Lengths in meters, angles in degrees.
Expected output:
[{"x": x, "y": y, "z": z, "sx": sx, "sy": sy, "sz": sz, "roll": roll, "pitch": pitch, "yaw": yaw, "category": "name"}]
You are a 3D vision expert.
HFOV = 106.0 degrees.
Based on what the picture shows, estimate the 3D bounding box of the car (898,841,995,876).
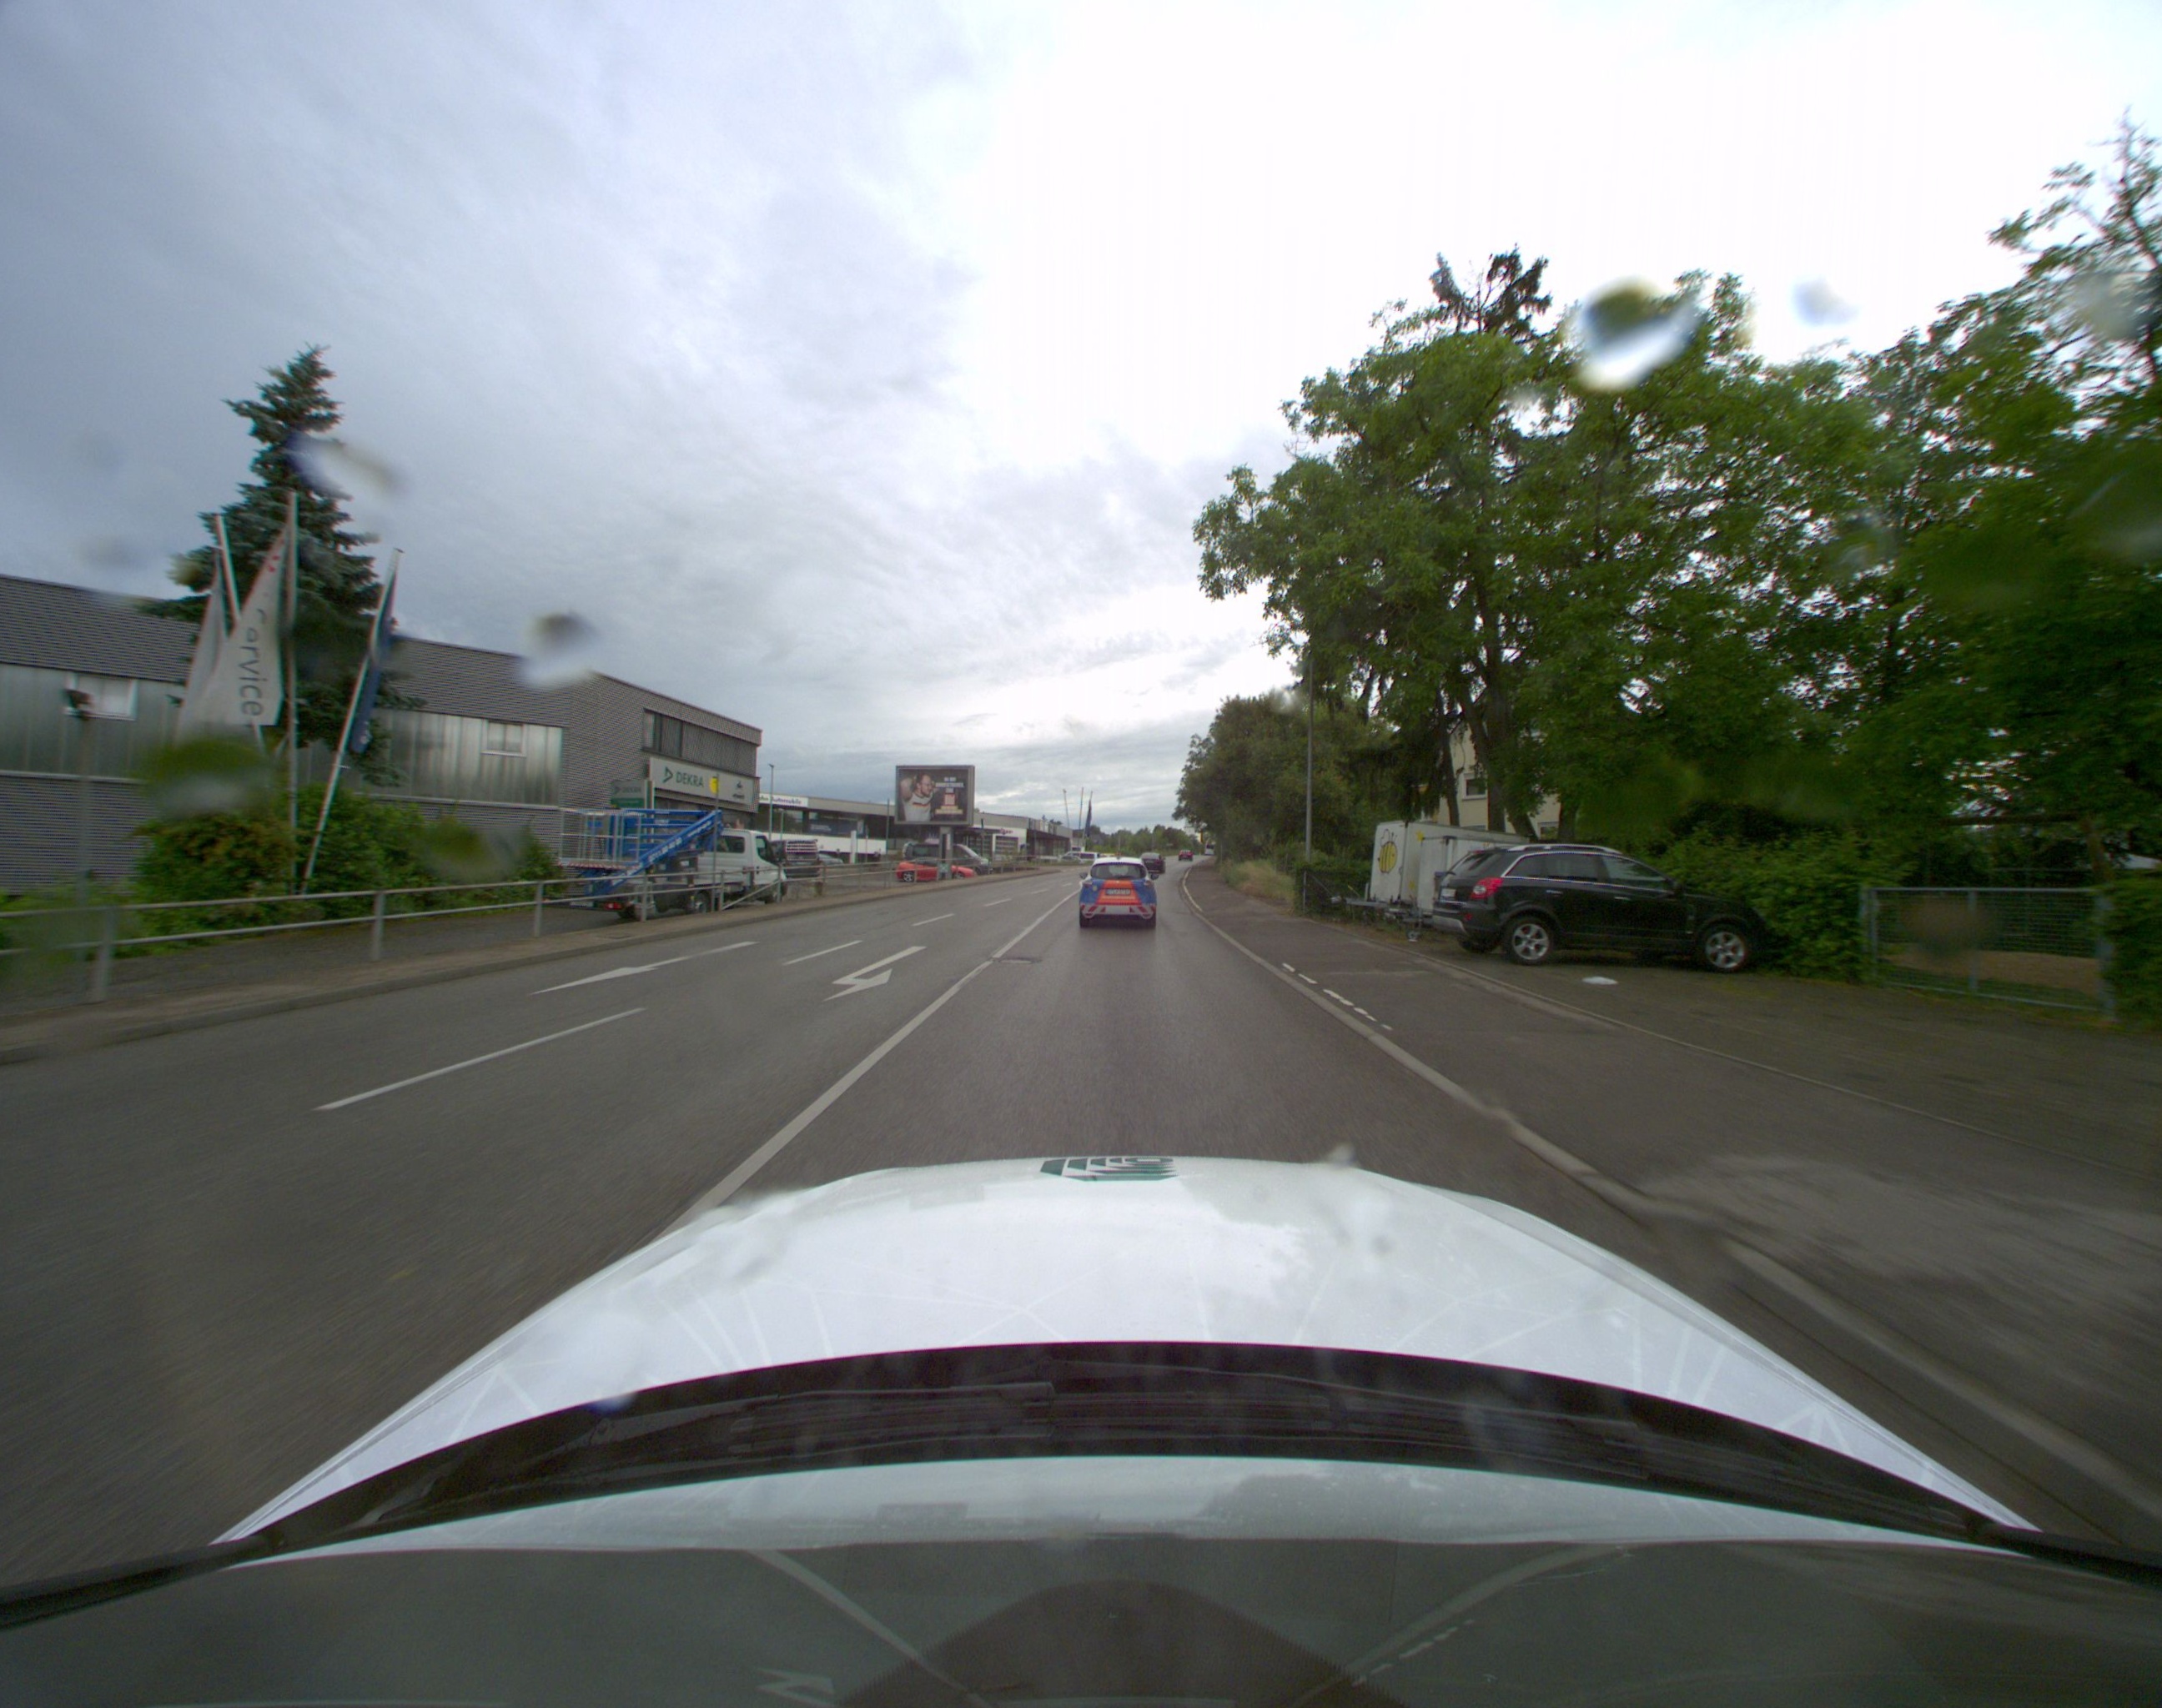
[{"x": -7.499, "y": 0.255, "z": 45.716, "sx": 5.049, "sy": 1.870, "sz": 1.823, "roll": 1, "pitch": 0, "yaw": 1, "category": "car"}]

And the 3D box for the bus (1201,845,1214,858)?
[{"x": 34.058, "y": -0.627, "z": 219.310, "sx": 2.896, "sy": 3.169, "sz": 11.482, "roll": 0, "pitch": 0, "yaw": 5, "category": "bus"}]

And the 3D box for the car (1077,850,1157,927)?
[{"x": 0.934, "y": 0.759, "z": 19.186, "sx": 1.649, "sy": 1.593, "sz": 3.574, "roll": 2, "pitch": -1, "yaw": 6, "category": "car"}]

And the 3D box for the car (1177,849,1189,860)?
[{"x": 13.865, "y": 0.093, "z": 110.625, "sx": 1.605, "sy": 1.407, "sz": 3.505, "roll": 0, "pitch": 0, "yaw": 8, "category": "car"}]

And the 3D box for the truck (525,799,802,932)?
[{"x": -9.655, "y": 0.146, "z": 20.106, "sx": 1.983, "sy": 2.632, "sz": 7.908, "roll": 0, "pitch": 1, "yaw": 7, "category": "truck"}]

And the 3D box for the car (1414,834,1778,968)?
[{"x": 7.511, "y": 0.625, "z": 12.261, "sx": 4.195, "sy": 1.749, "sz": 1.986, "roll": 1, "pitch": 1, "yaw": 3, "category": "car"}]

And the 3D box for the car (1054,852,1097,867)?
[{"x": -0.521, "y": 0.547, "z": 81.572, "sx": 3.986, "sy": 1.478, "sz": 1.828, "roll": 1, "pitch": 0, "yaw": 8, "category": "car"}]

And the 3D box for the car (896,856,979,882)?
[{"x": -7.473, "y": 0.786, "z": 42.764, "sx": 4.083, "sy": 1.267, "sz": 1.768, "roll": 1, "pitch": 0, "yaw": -4, "category": "car"}]

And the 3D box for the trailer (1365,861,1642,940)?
[{"x": 7.816, "y": 0.833, "z": 15.340, "sx": 4.381, "sy": 1.288, "sz": 1.572, "roll": 1, "pitch": 1, "yaw": 1, "category": "trailer"}]

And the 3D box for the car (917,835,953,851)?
[{"x": -14.379, "y": -1.058, "z": 80.314, "sx": 1.803, "sy": 1.478, "sz": 4.041, "roll": 1, "pitch": 1, "yaw": 19, "category": "car"}]

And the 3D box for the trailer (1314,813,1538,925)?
[{"x": 8.149, "y": 0.352, "z": 19.463, "sx": 4.528, "sy": 2.400, "sz": 1.945, "roll": 2, "pitch": 0, "yaw": -6, "category": "trailer"}]

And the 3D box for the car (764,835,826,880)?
[{"x": -13.693, "y": 0.145, "z": 38.823, "sx": 2.005, "sy": 1.987, "sz": 4.832, "roll": 2, "pitch": 0, "yaw": -29, "category": "car"}]

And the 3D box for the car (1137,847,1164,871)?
[{"x": 4.913, "y": 0.339, "z": 57.192, "sx": 1.793, "sy": 1.590, "sz": 3.569, "roll": 0, "pitch": 0, "yaw": 6, "category": "car"}]

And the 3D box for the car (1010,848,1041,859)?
[{"x": -7.364, "y": -0.023, "z": 108.545, "sx": 3.972, "sy": 1.416, "sz": 1.965, "roll": 1, "pitch": 1, "yaw": 44, "category": "car"}]

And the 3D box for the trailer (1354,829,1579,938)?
[{"x": 8.083, "y": 0.596, "z": 17.312, "sx": 3.938, "sy": 2.022, "sz": 1.687, "roll": 2, "pitch": 0, "yaw": 1, "category": "trailer"}]

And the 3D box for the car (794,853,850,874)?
[{"x": -19.277, "y": 0.706, "z": 60.641, "sx": 4.053, "sy": 1.428, "sz": 1.901, "roll": 1, "pitch": 0, "yaw": 35, "category": "car"}]

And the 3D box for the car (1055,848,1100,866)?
[{"x": -0.333, "y": 0.296, "z": 84.197, "sx": 4.387, "sy": 1.797, "sz": 1.939, "roll": 1, "pitch": 0, "yaw": 8, "category": "car"}]

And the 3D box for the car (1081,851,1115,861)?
[{"x": 2.153, "y": 0.246, "z": 102.515, "sx": 4.041, "sy": 1.291, "sz": 1.808, "roll": 1, "pitch": 0, "yaw": 6, "category": "car"}]
